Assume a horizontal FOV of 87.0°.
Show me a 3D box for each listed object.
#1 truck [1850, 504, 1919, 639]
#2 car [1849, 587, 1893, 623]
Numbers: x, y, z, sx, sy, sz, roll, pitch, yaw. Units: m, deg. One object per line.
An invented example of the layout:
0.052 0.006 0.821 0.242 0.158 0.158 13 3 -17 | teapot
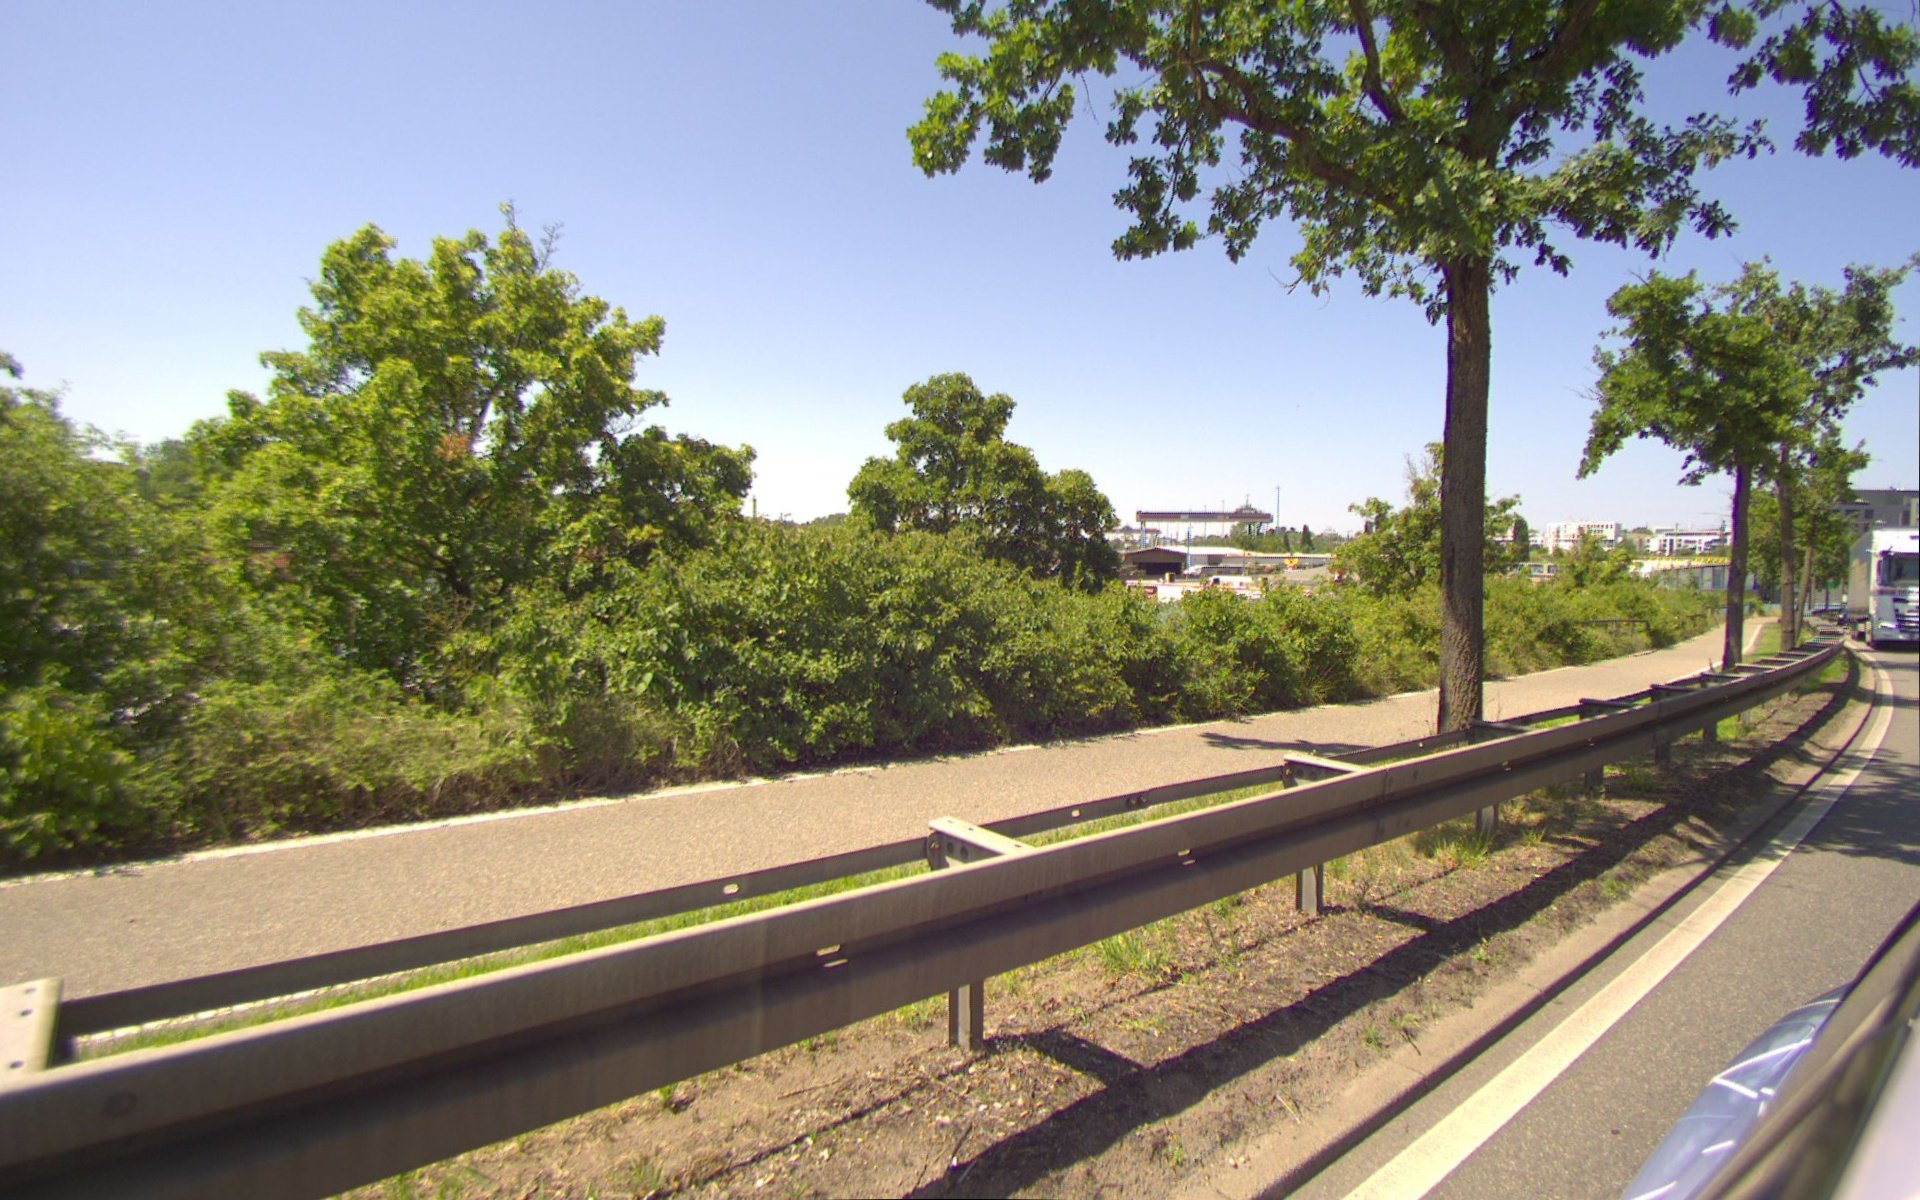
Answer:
35.869 -0.942 37.944 3.057 4.223 16.672 0 0 39 | truck
53.375 0.274 59.327 1.773 2.039 3.941 0 0 40 | car
